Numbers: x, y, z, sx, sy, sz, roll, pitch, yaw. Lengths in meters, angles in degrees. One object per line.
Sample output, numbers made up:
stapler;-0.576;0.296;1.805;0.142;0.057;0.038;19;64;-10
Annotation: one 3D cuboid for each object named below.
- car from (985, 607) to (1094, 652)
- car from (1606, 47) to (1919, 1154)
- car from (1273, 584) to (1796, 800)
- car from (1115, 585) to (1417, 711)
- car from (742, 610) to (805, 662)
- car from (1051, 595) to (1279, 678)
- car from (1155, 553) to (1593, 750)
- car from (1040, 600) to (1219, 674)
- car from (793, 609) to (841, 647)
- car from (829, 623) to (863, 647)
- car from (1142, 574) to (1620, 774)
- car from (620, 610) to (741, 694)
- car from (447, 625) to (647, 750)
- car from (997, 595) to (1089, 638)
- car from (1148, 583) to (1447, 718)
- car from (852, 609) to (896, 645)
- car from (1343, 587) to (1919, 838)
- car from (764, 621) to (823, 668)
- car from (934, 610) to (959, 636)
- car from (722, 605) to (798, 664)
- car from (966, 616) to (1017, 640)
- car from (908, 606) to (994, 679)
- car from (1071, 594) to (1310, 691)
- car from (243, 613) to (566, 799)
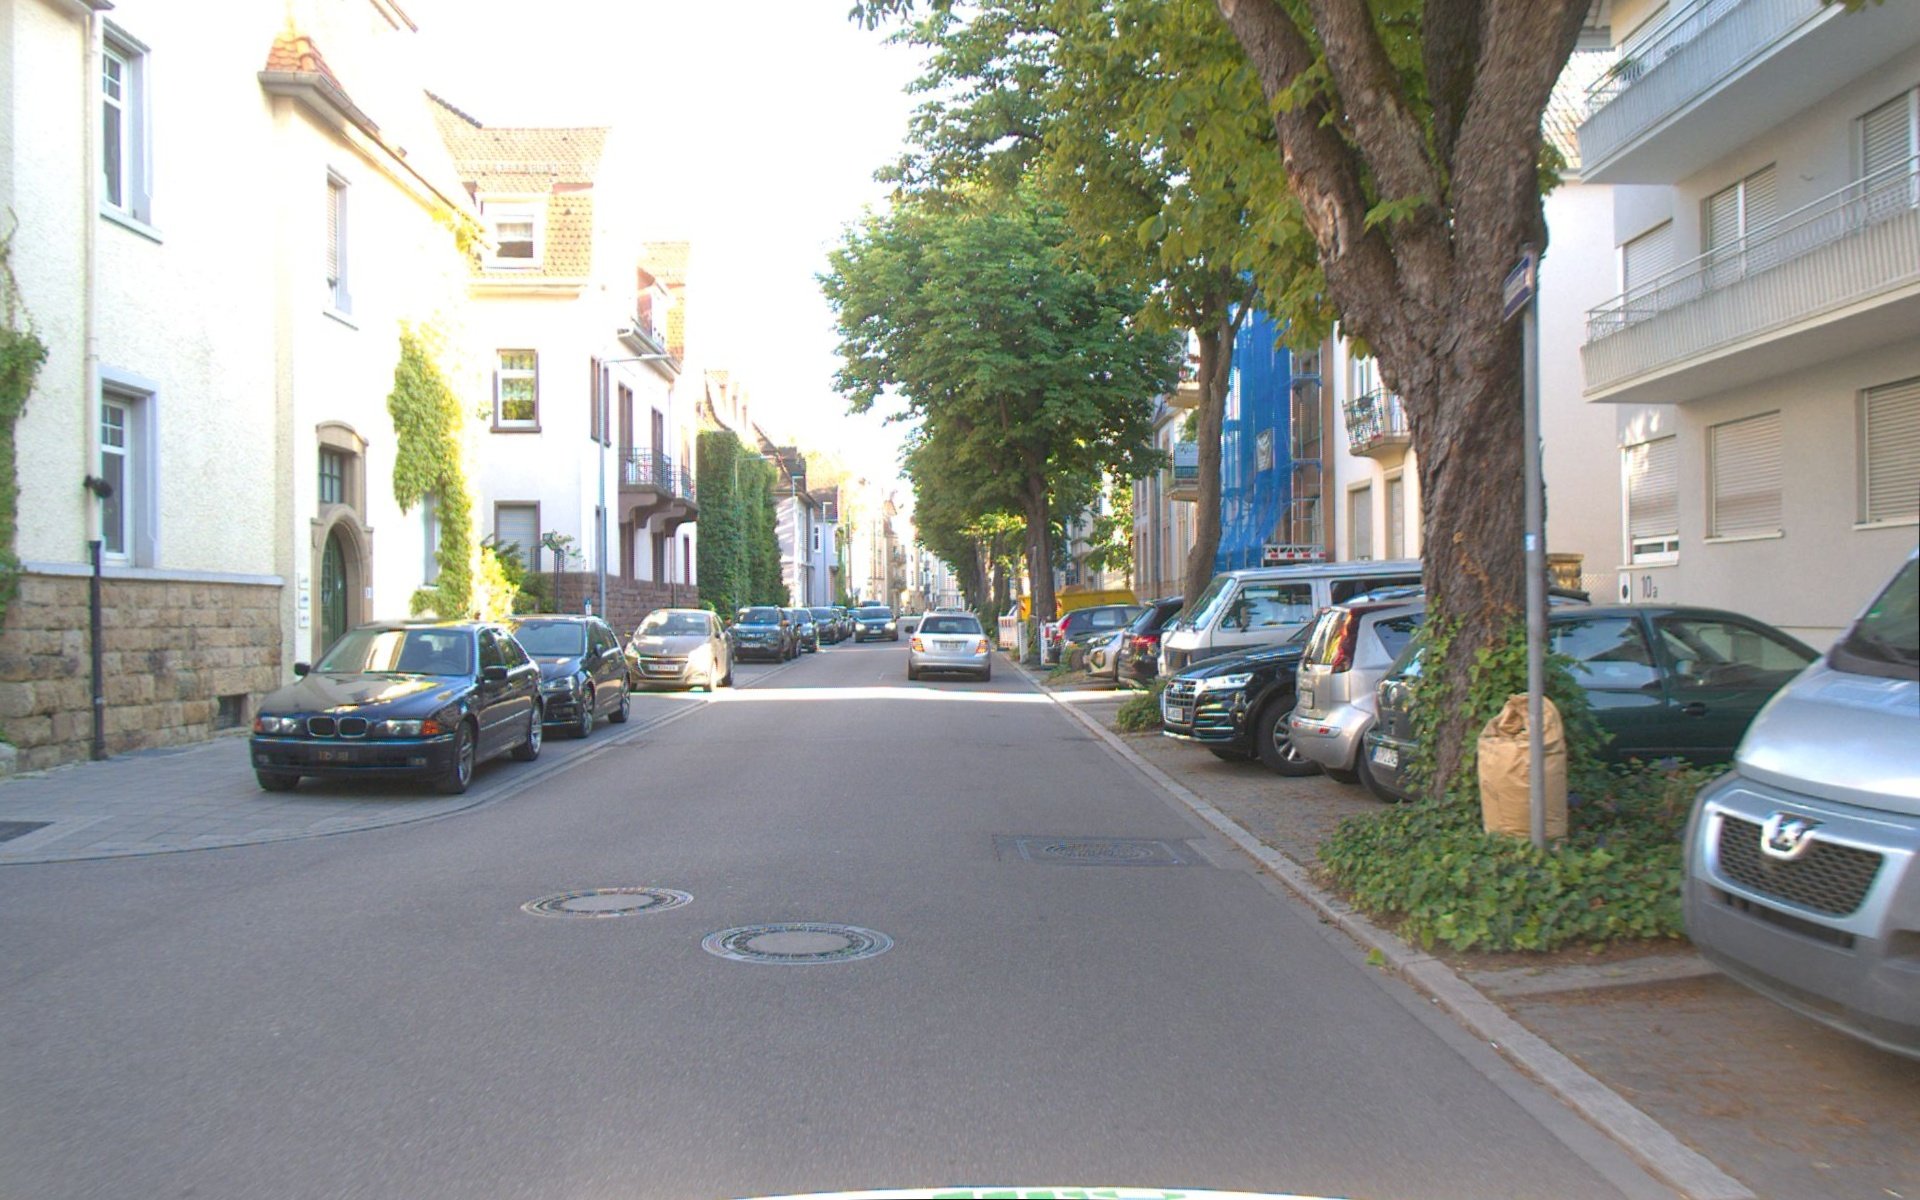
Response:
car;2.999;1.123;62.948;4.059;1.561;1.687;-2;-1;1
car;5.027;-0.031;5.371;4.993;2.953;2.075;-1;-1;-2
car;4.538;0.712;13.407;3.646;1.581;1.638;-1;-1;-3
car;4.602;0.703;25.265;4.244;1.712;1.705;-2;0;-2
car;-5.561;1.056;49.706;1.620;1.472;3.841;1;-1;-3
car;4.356;0.779;35.601;4.622;1.562;1.850;-2;-1;-1
car;4.509;0.551;18.459;4.380;2.049;1.895;0;-1;-3
car;3.858;0.852;38.174;3.905;1.518;1.851;-2;-1;0
car;-5.746;1.121;66.718;1.616;1.446;4.097;1;-1;-1
car;-6.647;2.049;96.742;1.619;1.347;4.045;1;-1;1
car;3.973;0.677;15.945;4.097;1.754;1.762;-1;-1;-8
car;-5.218;0.951;31.275;1.620;1.472;4.004;1;-1;-1
car;-5.238;1.054;21.488;1.620;1.440;4.166;1;-1;-2
car;3.931;0.797;78.768;4.227;1.839;1.999;-2;-1;-1
car;4.692;0.695;23.396;3.867;1.712;1.706;-2;0;2
car;-3.623;1.124;70.338;1.736;1.474;3.999;-1;-1;-1
car;4.564;0.702;10.836;3.646;1.456;1.757;-1;-2;-3
car;-5.569;1.456;55.647;1.757;1.487;4.774;1;-1;-3
car;-0.842;1.431;104.358;1.590;1.597;3.679;0;-1;0
car;-5.447;0.935;45.397;1.620;1.512;3.763;1;-1;-1
car;2.652;2.369;139.951;4.136;1.929;1.904;-2;-1;-3
car;-0.193;0.910;35.506;1.747;1.463;3.850;1;-2;0
car;4.172;0.765;30.448;4.071;1.566;1.850;-2;-1;-1
car;-5.071;0.895;15.775;1.675;1.496;4.631;1;-1;-3
